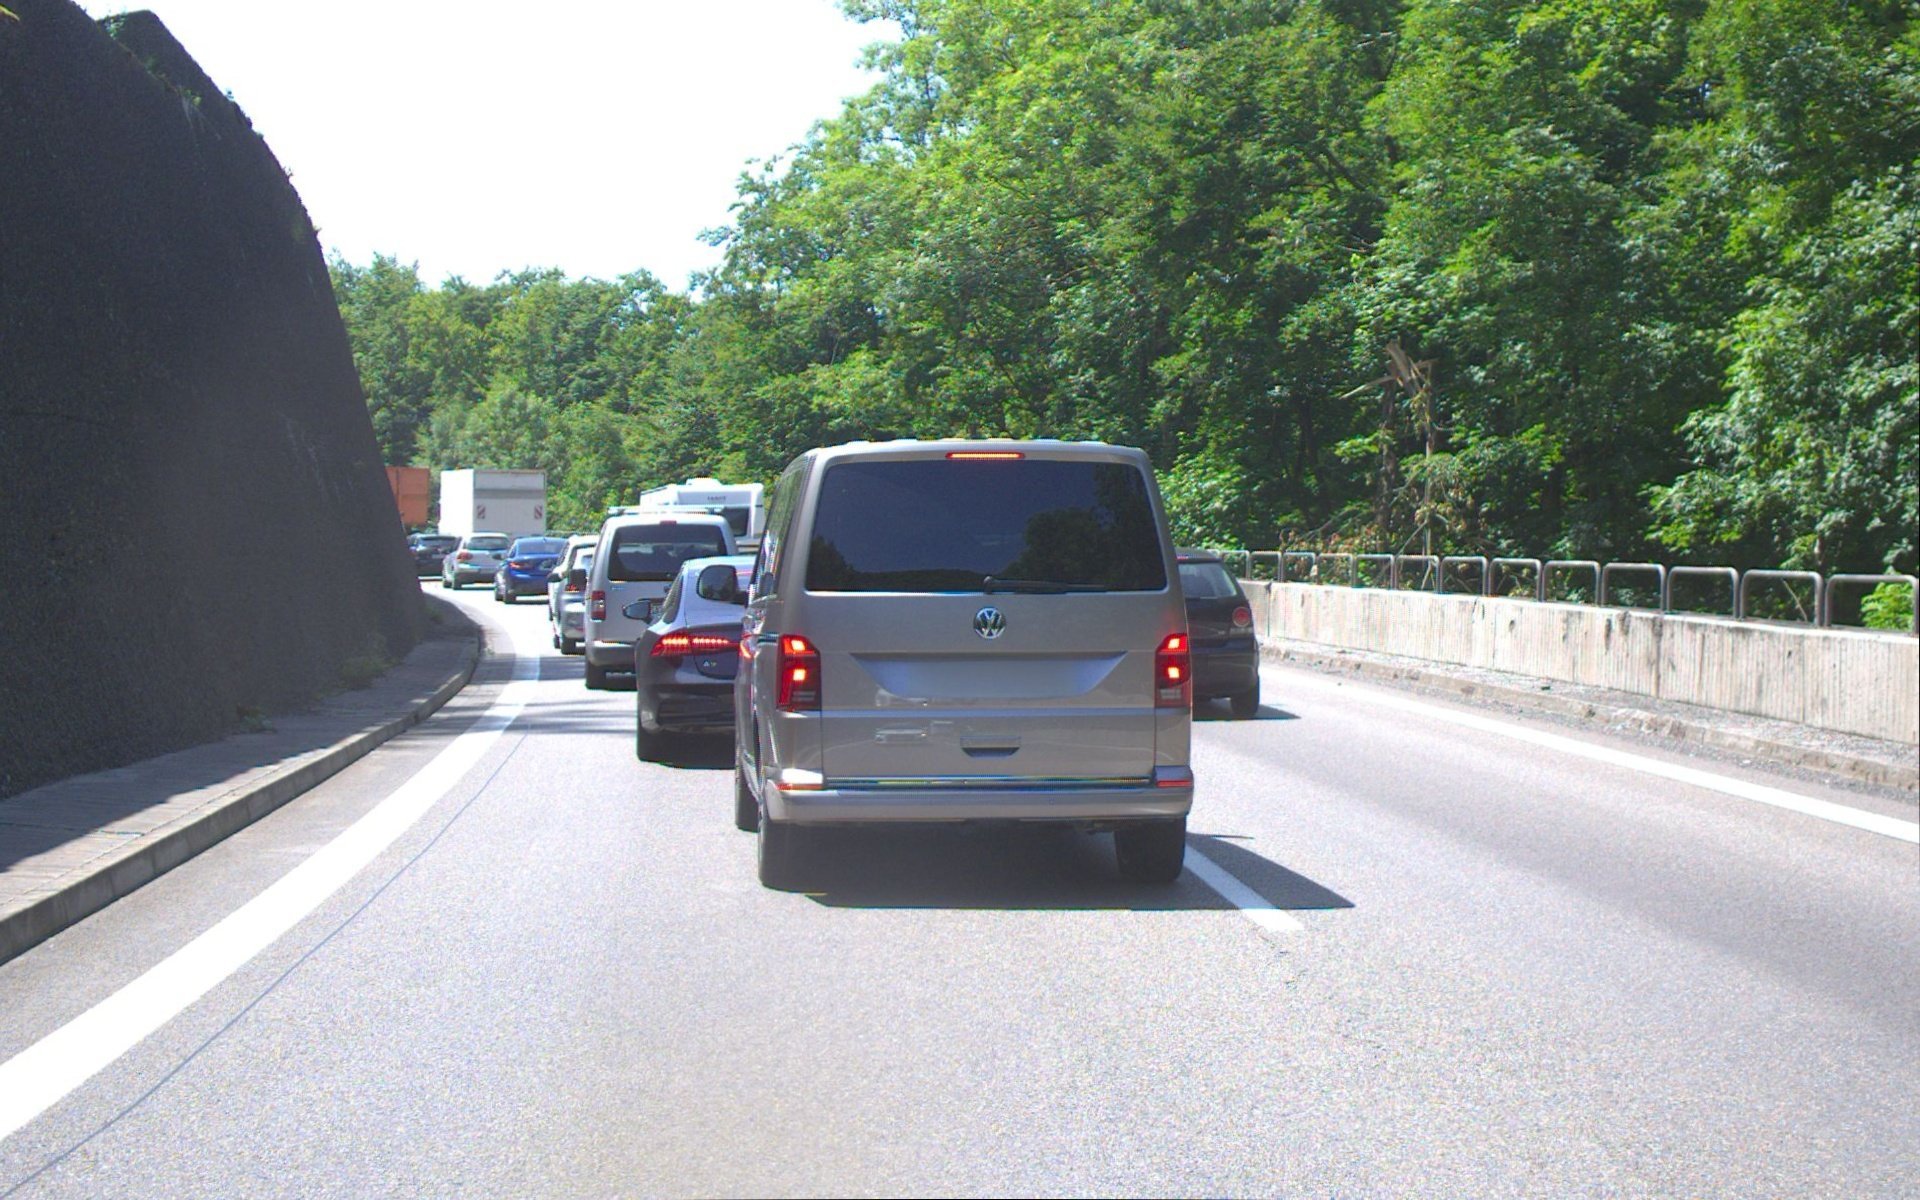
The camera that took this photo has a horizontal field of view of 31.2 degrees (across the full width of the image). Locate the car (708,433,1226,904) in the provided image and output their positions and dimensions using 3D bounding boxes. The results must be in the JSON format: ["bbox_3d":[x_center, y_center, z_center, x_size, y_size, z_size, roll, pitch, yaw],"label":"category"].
[{"bbox_3d":[-0.135,0.239,16.579,1.940,1.924,4.695,1,1,-6],"label":"car"}]

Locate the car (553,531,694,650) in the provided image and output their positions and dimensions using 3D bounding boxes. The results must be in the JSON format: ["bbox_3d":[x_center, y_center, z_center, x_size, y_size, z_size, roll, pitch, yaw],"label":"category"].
[{"bbox_3d":[-4.602,-0.169,47.299,1.771,1.467,4.001,3,1,-5],"label":"car"}]

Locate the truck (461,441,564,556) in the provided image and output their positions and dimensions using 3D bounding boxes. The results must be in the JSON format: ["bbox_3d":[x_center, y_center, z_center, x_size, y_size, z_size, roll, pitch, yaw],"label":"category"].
[{"bbox_3d":[-15.695,-3.544,120.241,2.924,3.674,7.727,5,1,-10],"label":"truck"}]

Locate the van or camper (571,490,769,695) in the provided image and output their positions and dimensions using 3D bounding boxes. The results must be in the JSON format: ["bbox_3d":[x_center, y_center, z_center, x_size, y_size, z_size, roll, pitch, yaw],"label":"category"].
[{"bbox_3d":[-3.070,-0.116,36.758,1.853,1.935,4.166,4,1,-4],"label":"van or camper"}]

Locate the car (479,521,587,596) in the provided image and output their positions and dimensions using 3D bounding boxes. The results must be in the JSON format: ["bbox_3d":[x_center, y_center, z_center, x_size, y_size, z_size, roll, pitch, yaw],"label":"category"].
[{"bbox_3d":[-9.450,-0.938,75.847,1.857,1.614,4.001,0,1,-15],"label":"car"}]

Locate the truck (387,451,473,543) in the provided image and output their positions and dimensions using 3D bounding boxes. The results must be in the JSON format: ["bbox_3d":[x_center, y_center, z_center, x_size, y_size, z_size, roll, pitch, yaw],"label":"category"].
[{"bbox_3d":[-21.974,-4.255,142.883,3.163,3.456,8.224,5,1,-8],"label":"truck"}]

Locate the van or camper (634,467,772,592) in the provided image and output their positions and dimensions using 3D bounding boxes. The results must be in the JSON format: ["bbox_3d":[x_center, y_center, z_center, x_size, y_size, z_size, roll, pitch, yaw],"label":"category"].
[{"bbox_3d":[-6.259,-1.723,82.851,2.603,2.845,6.337,-2,2,-10],"label":"van or camper"}]

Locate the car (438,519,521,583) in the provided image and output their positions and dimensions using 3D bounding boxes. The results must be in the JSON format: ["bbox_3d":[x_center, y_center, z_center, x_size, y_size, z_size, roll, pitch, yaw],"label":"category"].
[{"bbox_3d":[-12.627,-1.311,90.210,1.993,1.612,4.001,1,1,-10],"label":"car"}]

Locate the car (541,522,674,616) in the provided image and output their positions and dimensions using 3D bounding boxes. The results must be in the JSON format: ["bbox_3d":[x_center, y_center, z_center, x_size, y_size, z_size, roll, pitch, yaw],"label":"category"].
[{"bbox_3d":[-6.247,-0.559,60.596,1.894,1.579,3.772,-1,1,-12],"label":"car"}]

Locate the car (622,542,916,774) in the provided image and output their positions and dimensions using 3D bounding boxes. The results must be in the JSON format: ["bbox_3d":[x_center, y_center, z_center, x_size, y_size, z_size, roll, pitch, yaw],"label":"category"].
[{"bbox_3d":[-1.357,0.345,24.897,1.904,1.484,4.380,1,1,-3],"label":"car"}]

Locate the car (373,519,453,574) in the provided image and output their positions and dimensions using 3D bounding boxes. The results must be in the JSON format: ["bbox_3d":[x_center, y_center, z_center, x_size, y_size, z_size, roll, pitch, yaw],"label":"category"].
[{"bbox_3d":[-16.182,-1.589,101.659,1.750,1.565,3.772,1,1,-18],"label":"car"}]

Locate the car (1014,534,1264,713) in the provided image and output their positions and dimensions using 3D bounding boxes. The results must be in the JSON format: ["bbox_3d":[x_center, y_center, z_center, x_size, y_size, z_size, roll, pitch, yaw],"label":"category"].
[{"bbox_3d":[1.523,0.158,30.609,1.684,1.453,4.001,1,1,-4],"label":"car"}]
